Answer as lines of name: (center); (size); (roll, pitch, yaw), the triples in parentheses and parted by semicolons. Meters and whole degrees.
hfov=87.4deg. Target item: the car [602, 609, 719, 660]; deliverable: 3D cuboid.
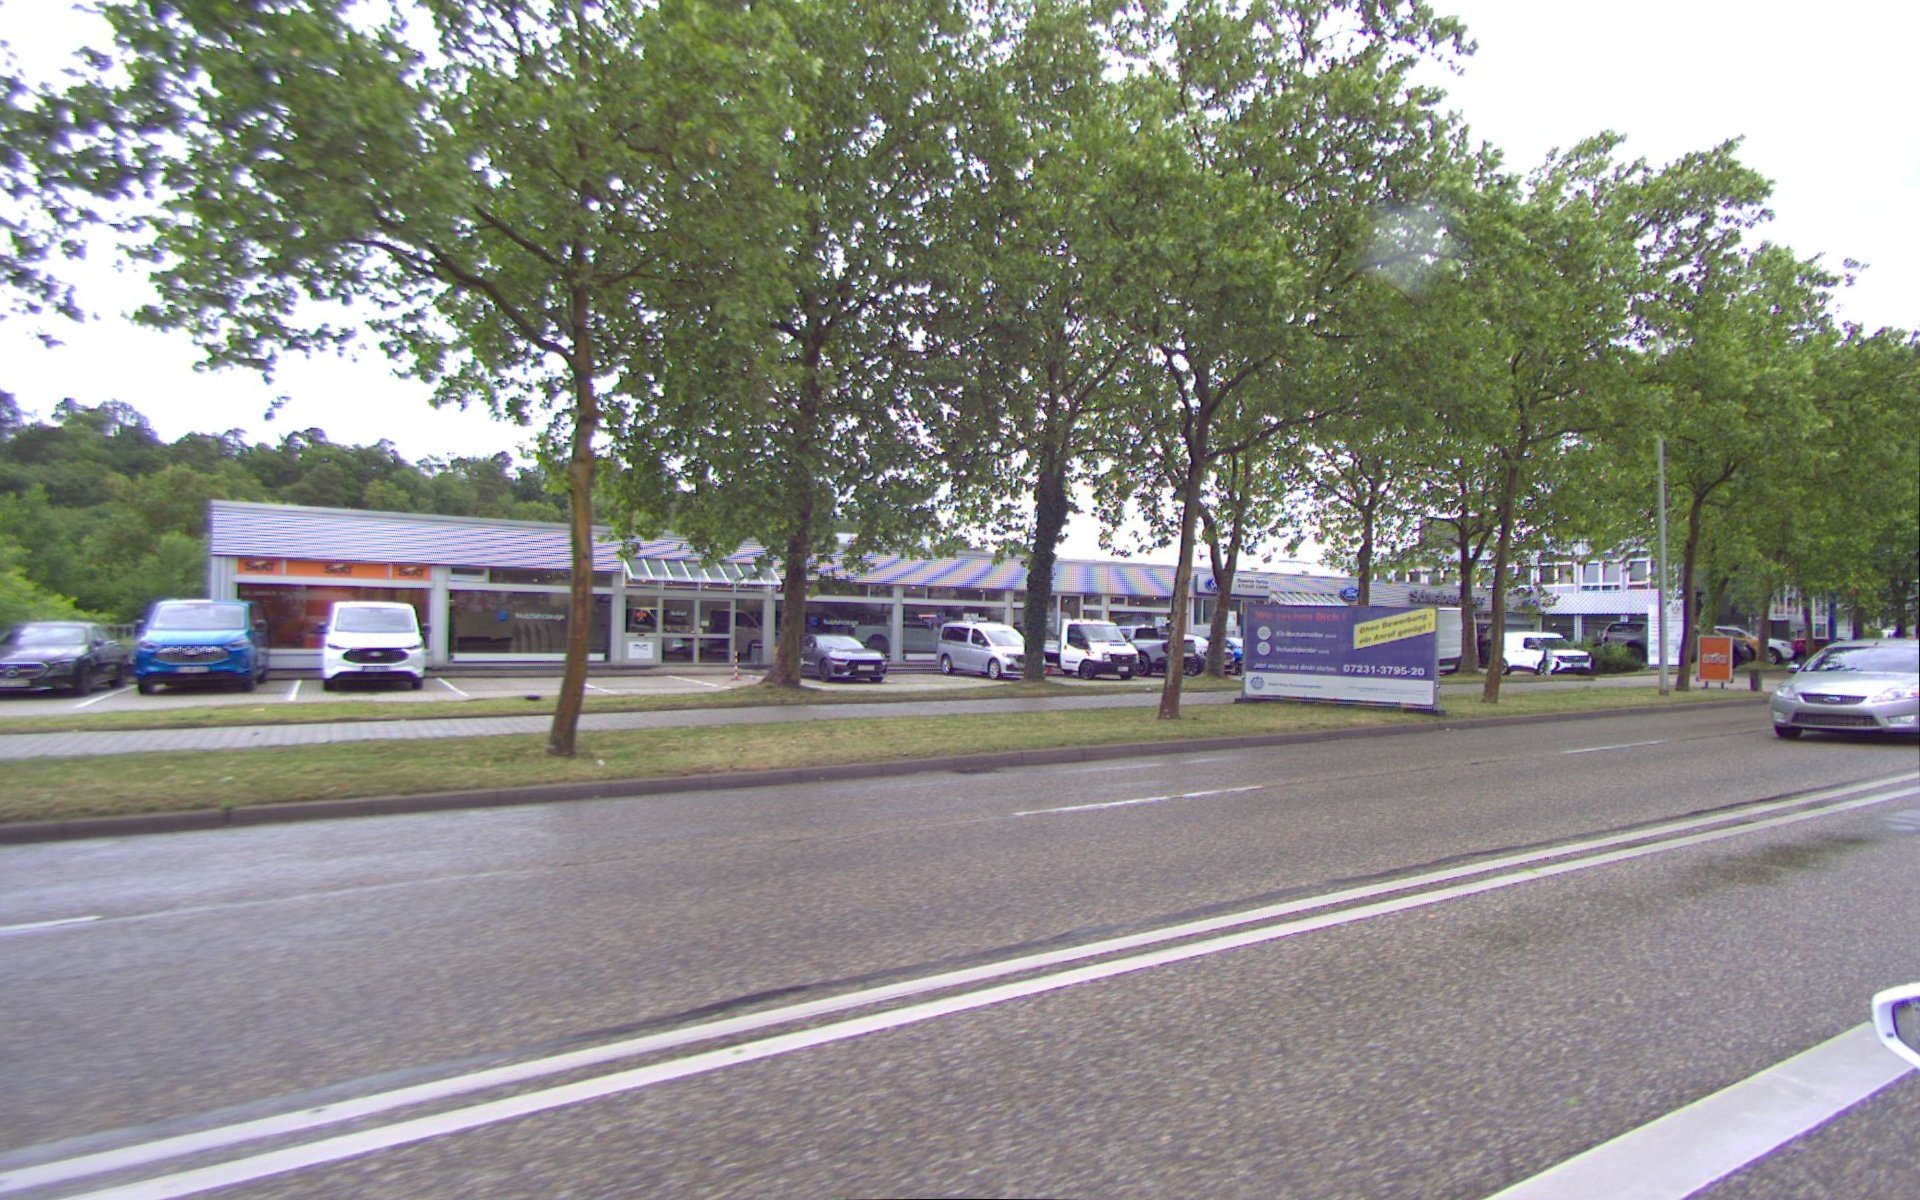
car: (-11.523, 1.296, 38.713); (3.808, 1.767, 1.913); (2, 0, 14)

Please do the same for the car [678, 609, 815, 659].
car: (-8.712, 1.352, 40.906); (5.257, 1.862, 2.385); (1, -1, 32)

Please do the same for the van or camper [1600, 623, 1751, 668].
van or camper: (30.886, 1.911, 43.582); (5.211, 1.845, 2.260); (-1, -2, 34)

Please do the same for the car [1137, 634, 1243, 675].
car: (8.928, 2.084, 39.326); (2.008, 1.480, 3.972); (1, -2, -27)

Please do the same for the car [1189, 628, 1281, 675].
car: (11.031, 2.035, 40.604); (1.834, 1.790, 3.988); (1, -2, -15)

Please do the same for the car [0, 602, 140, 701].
car: (-18.623, 1.013, 20.616); (2.041, 1.837, 4.108); (1, -2, -29)

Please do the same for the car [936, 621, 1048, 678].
car: (1.007, 1.608, 33.612); (1.862, 1.790, 3.965); (1, -2, -32)

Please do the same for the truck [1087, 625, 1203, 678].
truck: (6.851, 1.876, 37.530); (1.984, 1.862, 3.954); (2, -2, -40)

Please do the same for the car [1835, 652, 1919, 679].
car: (57.508, 4.069, 62.677); (4.164, 1.617, 1.993); (-2, -3, 36)

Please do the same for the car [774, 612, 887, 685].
car: (-3.959, 1.405, 30.146); (1.862, 2.040, 3.965); (1, -2, -32)

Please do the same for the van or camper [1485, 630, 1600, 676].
van or camper: (24.352, 2.165, 42.238); (1.804, 1.808, 4.644); (0, -2, -6)

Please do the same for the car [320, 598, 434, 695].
car: (-13.961, 1.056, 23.946); (2.106, 2.040, 5.018); (1, -2, -32)

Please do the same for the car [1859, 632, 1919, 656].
car: (62.861, 2.934, 67.040); (1.860, 1.508, 3.954); (1, -2, -35)

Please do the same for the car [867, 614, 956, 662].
car: (-1.987, 1.482, 40.022); (1.844, 1.790, 3.965); (1, -2, -32)

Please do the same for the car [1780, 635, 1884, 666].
car: (51.302, 2.930, 59.212); (4.496, 1.617, 1.992); (1, -1, 37)

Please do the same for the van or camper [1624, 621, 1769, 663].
van or camper: (34.038, 1.921, 46.586); (5.290, 1.792, 2.098); (-1, -5, 37)

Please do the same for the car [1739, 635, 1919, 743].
car: (14.181, 1.276, 15.543); (4.636, 1.448, 1.982); (2, -3, -33)

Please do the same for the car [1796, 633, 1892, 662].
car: (53.849, 2.920, 61.296); (4.164, 1.674, 2.006); (-2, -4, 36)

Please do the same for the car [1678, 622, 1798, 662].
car: (36.925, 1.965, 47.815); (4.397, 1.840, 1.993); (-1, -2, 37)

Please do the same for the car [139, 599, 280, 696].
car: (-16.373, 0.998, 22.128); (1.940, 1.914, 3.969); (1, -2, -29)

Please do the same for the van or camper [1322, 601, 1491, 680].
van or camper: (15.322, 1.348, 34.307); (6.327, 2.503, 1.984); (1, 0, -31)

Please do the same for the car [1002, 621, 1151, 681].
car: (4.024, 1.741, 35.569); (2.391, 1.928, 5.343); (1, -2, -33)
